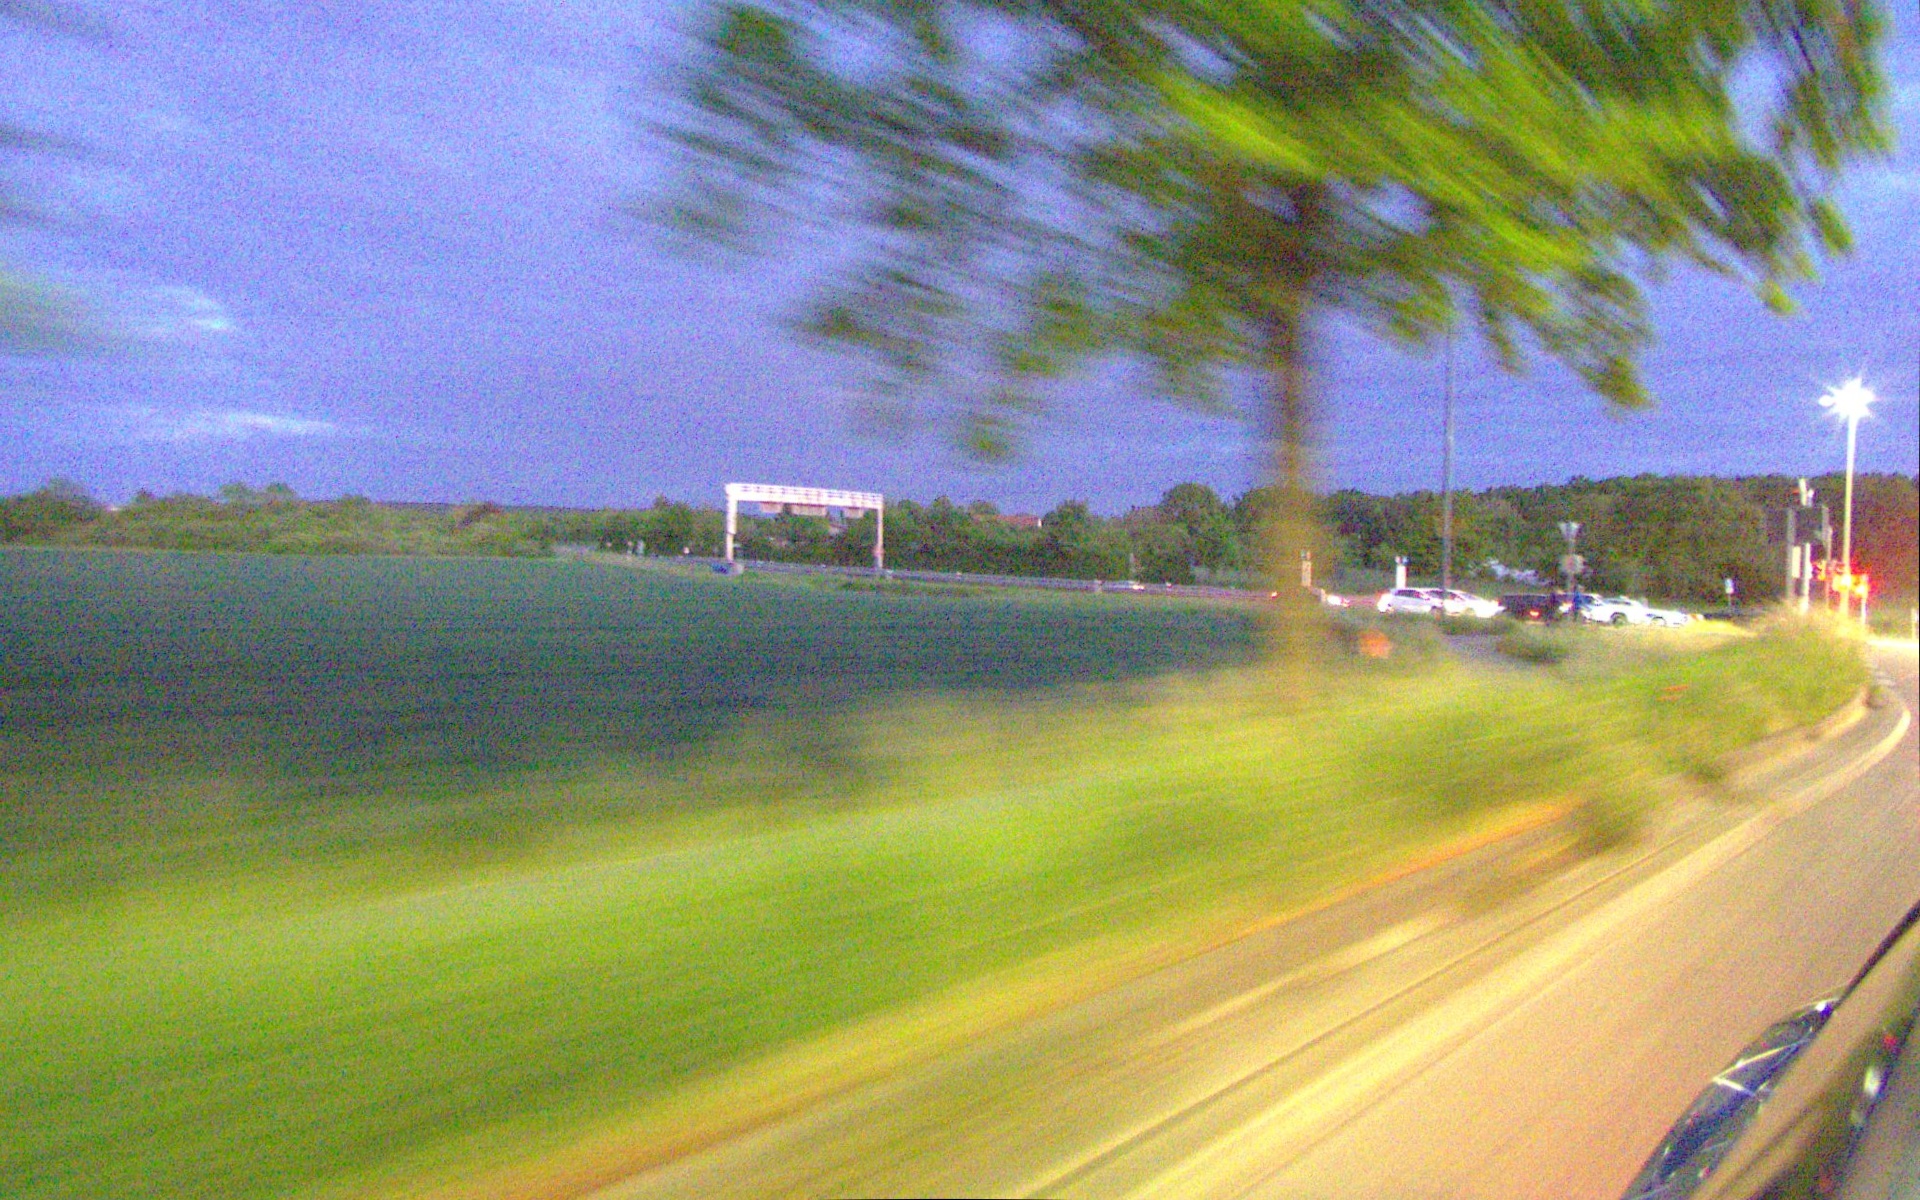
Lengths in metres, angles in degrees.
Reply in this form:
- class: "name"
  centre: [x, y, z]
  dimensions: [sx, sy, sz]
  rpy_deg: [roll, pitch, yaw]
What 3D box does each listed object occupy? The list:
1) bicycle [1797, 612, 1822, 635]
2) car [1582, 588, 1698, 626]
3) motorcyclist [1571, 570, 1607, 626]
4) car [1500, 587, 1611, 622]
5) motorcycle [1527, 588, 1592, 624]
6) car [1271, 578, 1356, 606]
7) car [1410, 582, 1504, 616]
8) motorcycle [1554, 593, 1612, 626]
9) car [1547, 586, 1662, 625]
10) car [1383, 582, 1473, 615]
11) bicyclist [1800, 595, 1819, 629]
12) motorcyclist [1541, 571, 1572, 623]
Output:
- class: "bicycle"
  centre: [42.804, 1.188, 50.992]
  dimensions: [2.033, 1.115, 0.694]
  rpy_deg: [1, 1, -44]
- class: "car"
  centre: [35.136, 0.340, 52.387]
  dimensions: [1.823, 1.653, 4.585]
  rpy_deg: [2, 2, -37]
- class: "motorcyclist"
  centre: [21.549, -0.075, 34.686]
  dimensions: [0.860, 1.831, 0.910]
  rpy_deg: [-3, 2, 23]
- class: "car"
  centre: [28.859, 0.203, 49.146]
  dimensions: [1.752, 1.463, 4.292]
  rpy_deg: [2, 2, -36]
- class: "motorcycle"
  centre: [21.312, 0.209, 35.994]
  dimensions: [1.796, 1.196, 0.846]
  rpy_deg: [-2, 2, 17]
- class: "car"
  centre: [20.569, -0.497, 59.104]
  dimensions: [1.803, 1.407, 4.396]
  rpy_deg: [0, 3, -37]
- class: "car"
  centre: [27.657, -0.096, 56.416]
  dimensions: [1.718, 1.646, 4.363]
  rpy_deg: [2, 2, -36]
- class: "motorcycle"
  centre: [21.382, 0.329, 34.784]
  dimensions: [1.559, 1.045, 0.718]
  rpy_deg: [-3, 2, 23]
- class: "car"
  centre: [32.071, 0.259, 50.467]
  dimensions: [1.878, 1.703, 4.420]
  rpy_deg: [2, 2, -36]
- class: "car"
  centre: [24.981, -0.096, 54.110]
  dimensions: [1.803, 1.543, 3.999]
  rpy_deg: [0, 2, -37]
- class: "bicyclist"
  centre: [42.874, 0.619, 51.064]
  dimensions: [0.983, 1.672, 0.602]
  rpy_deg: [1, 1, -43]
- class: "motorcyclist"
  centre: [21.207, -0.122, 35.984]
  dimensions: [0.779, 1.780, 0.681]
  rpy_deg: [-2, 2, 17]
